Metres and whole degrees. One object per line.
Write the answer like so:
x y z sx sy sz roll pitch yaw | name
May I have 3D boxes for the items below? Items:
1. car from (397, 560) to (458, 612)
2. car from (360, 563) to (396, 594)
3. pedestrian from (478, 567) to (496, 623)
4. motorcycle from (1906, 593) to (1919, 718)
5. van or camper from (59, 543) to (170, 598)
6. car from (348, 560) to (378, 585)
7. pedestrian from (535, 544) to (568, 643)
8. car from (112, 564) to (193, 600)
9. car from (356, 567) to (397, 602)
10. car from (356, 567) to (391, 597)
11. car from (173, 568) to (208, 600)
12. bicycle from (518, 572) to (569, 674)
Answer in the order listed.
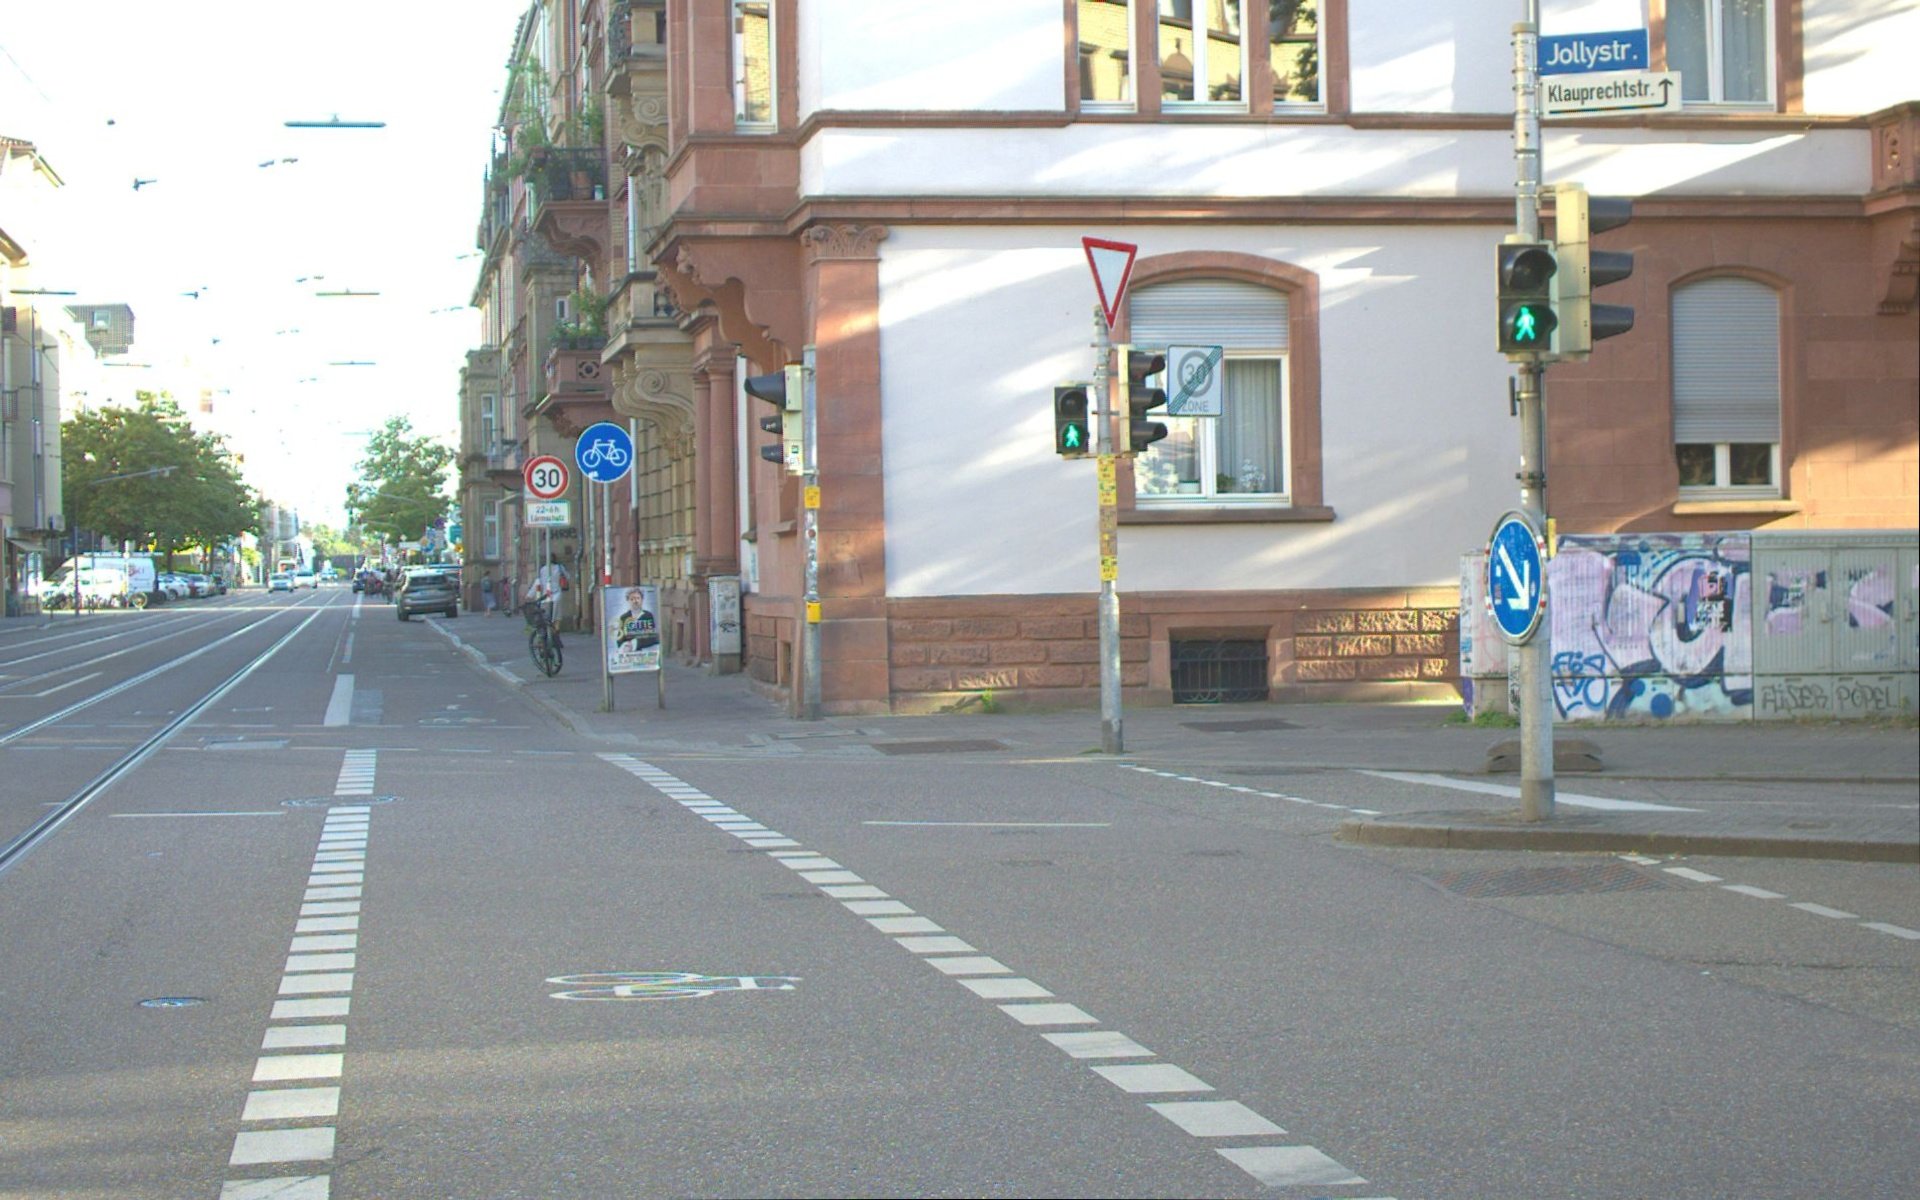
-17.713 -0.472 114.571 1.949 1.678 4.001 -1 1 -8 | car
-33.444 -1.237 197.485 1.993 1.722 4.001 0 0 -10 | car
-14.901 -0.162 108.267 0.544 1.774 0.749 -1 0 -9 | pedestrian
8.322 0.502 27.910 0.719 1.016 2.287 -1 3 2 | motorcycle
-39.794 -1.395 161.841 4.636 2.554 1.999 0 0 -40 | van or camper
-41.338 -1.880 237.916 1.993 1.722 4.001 0 0 -10 | car
-7.405 -0.118 62.282 0.544 1.774 0.504 -1 0 -9 | pedestrian
-46.113 -1.032 196.360 3.987 2.007 2.000 -1 1 -34 | car
-29.298 -0.761 172.679 1.993 1.722 4.001 0 0 -10 | car
-34.733 -1.052 203.563 1.993 1.722 4.001 0 0 -10 | car
-49.942 -1.047 223.118 1.993 2.007 4.001 -1 1 -10 | car
-5.594 0.297 46.121 0.653 1.319 2.177 -1 1 -7 | bicycle
